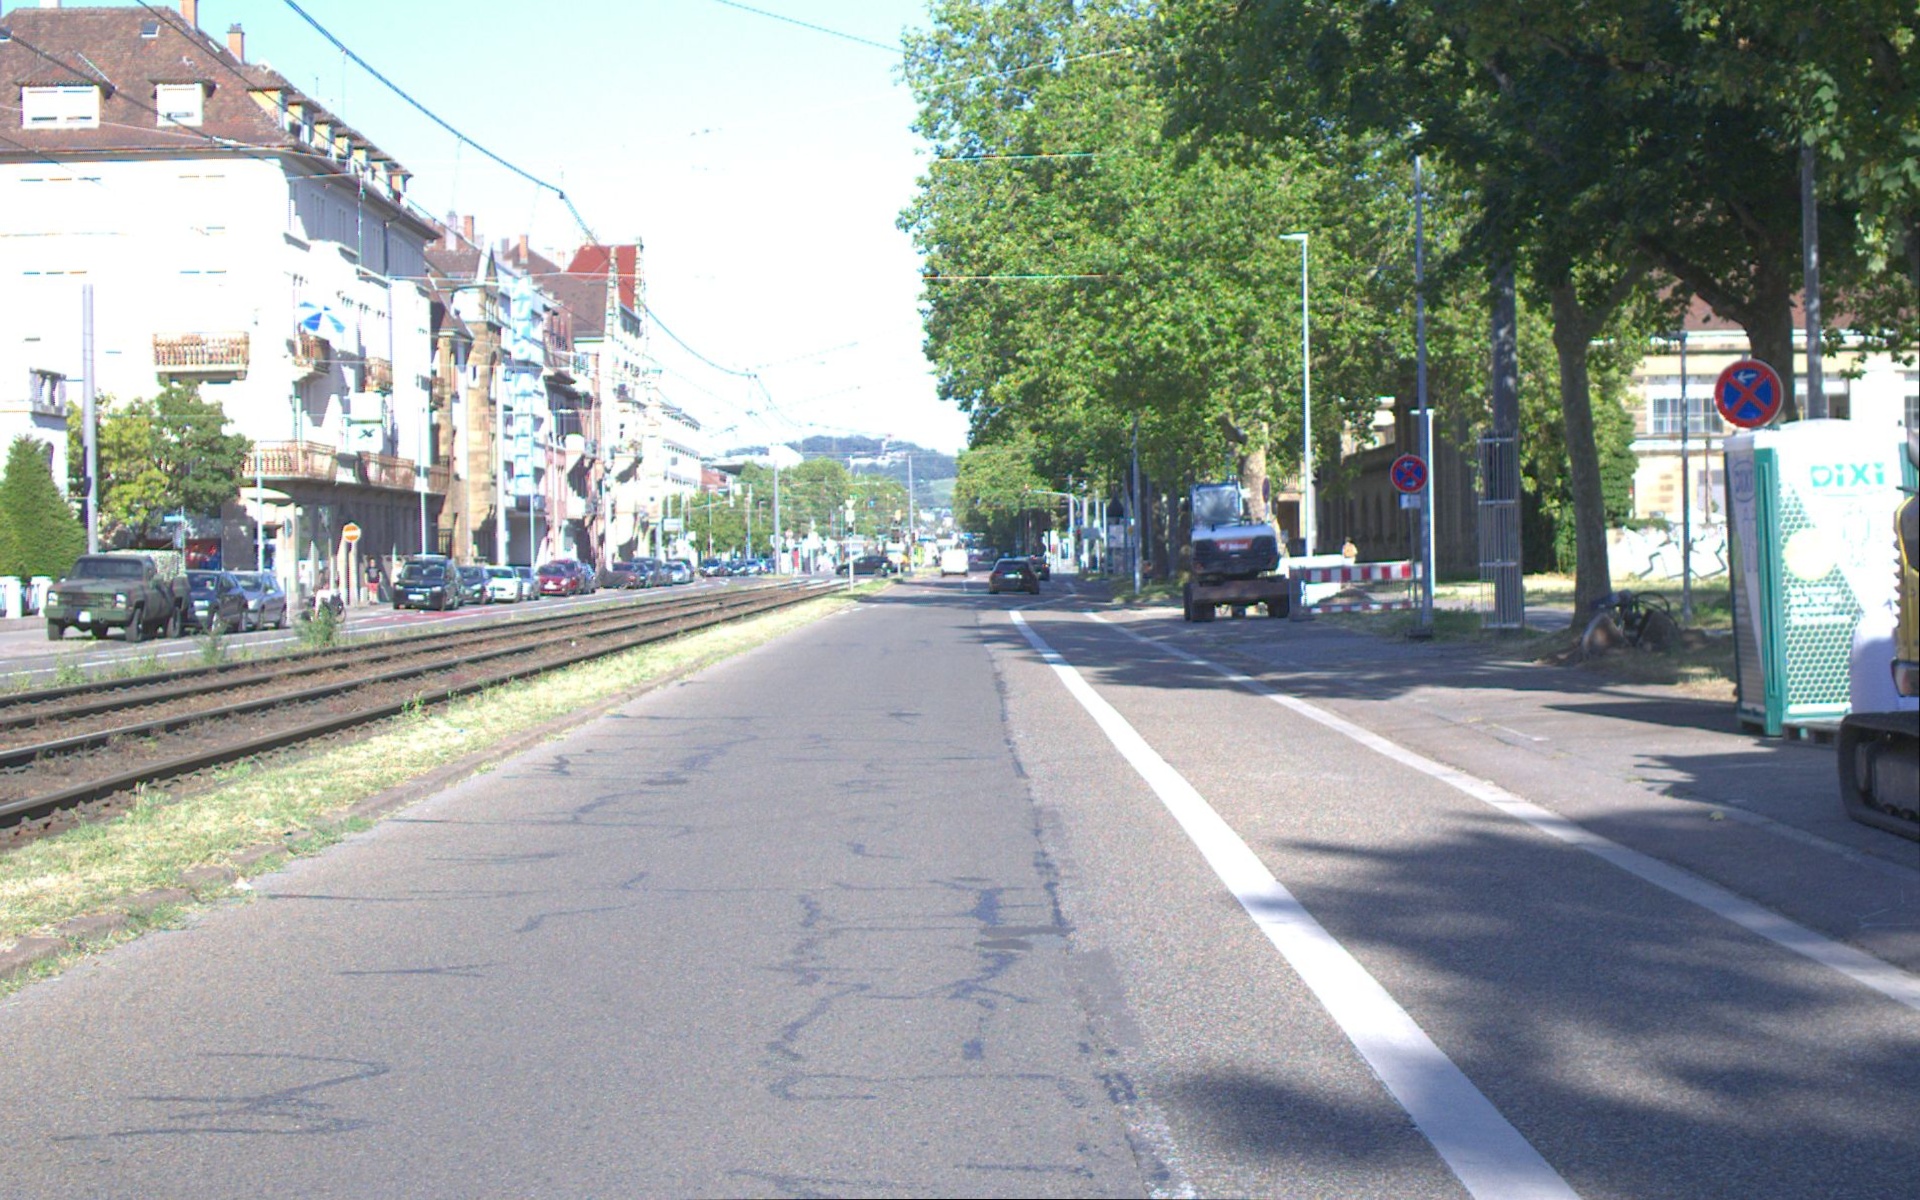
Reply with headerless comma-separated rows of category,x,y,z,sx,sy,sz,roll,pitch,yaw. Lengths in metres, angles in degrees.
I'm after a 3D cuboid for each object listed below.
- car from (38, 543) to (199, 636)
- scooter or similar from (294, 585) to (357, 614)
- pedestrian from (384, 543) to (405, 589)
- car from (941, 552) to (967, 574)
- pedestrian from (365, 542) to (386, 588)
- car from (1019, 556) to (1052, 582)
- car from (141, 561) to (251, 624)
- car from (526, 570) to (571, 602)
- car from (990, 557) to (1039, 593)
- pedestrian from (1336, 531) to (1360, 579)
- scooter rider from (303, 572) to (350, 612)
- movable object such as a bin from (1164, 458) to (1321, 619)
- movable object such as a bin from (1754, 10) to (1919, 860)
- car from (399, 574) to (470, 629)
car,-18.940,-0.265,77.645,2.077,2.003,5.591,1,1,2
scooter or similar,-17.816,-0.011,96.522,1.567,0.768,0.807,-1,1,31
pedestrian,-21.020,-1.273,127.876,0.589,1.691,0.857,1,0,2
car,-0.419,-2.596,240.777,1.794,1.505,4.000,1,0,-1
pedestrian,-21.720,-1.285,127.833,0.589,1.691,0.857,1,0,2
car,4.371,-1.798,200.647,1.794,1.505,4.000,0,1,0
car,-18.645,-0.177,84.041,1.635,1.502,4.159,0,0,2
car,-19.023,-0.651,159.054,1.833,1.386,4.036,2,0,-5
car,2.143,-0.999,136.137,1.833,1.386,4.159,0,1,0
pedestrian,13.766,-1.597,121.932,0.608,1.676,0.636,-5,1,-2
scooter rider,-17.785,-0.233,96.500,0.977,1.085,0.807,-1,1,31
movable object such as a bin,6.024,-1.334,74.336,2.744,3.135,7.219,-4,1,1
movable object such as a bin,6.202,-0.813,14.851,3.338,3.963,7.599,-4,1,-2
car,-18.469,0.038,121.051,1.862,1.780,4.402,1,1,-1
